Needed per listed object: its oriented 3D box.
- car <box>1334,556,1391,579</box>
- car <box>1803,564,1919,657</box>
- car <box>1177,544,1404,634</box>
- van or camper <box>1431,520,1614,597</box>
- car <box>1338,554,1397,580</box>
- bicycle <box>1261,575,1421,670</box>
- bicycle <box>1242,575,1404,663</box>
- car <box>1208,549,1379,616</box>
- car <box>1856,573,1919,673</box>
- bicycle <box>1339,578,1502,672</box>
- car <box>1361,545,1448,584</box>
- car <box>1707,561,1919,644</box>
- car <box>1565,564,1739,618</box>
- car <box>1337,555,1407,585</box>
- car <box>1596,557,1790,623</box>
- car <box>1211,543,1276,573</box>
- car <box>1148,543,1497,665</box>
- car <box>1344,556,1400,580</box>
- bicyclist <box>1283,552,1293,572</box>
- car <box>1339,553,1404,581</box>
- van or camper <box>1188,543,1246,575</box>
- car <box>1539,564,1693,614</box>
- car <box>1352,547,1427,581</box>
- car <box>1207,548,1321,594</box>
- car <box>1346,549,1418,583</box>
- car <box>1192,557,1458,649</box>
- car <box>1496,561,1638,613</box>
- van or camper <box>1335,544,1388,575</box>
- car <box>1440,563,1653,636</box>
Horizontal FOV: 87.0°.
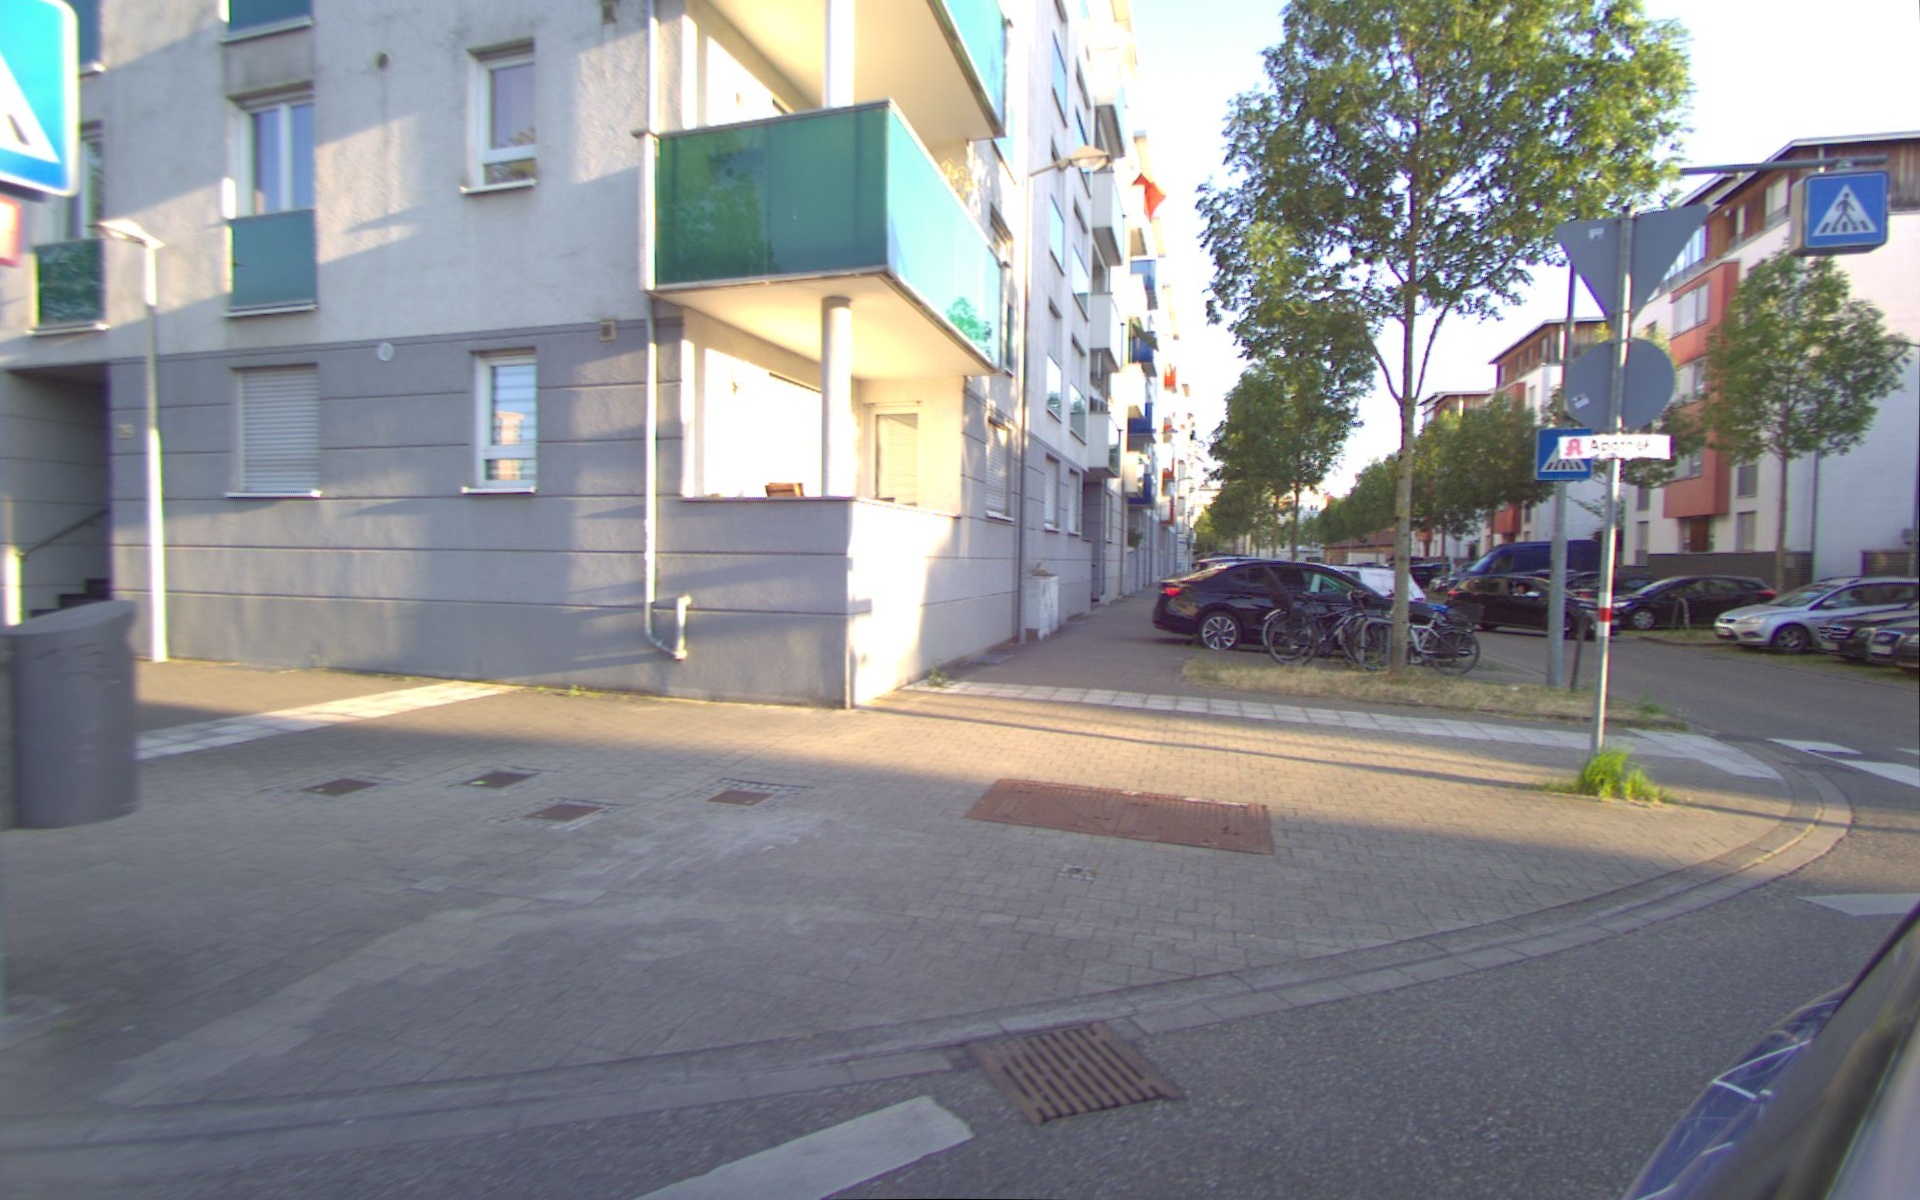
[{"bbox_3d":[34.038,-2.772,85.676,4.196,1.658,1.684,4,3,16],"label":"car"},{"bbox_3d":[18.083,0.153,17.764,4.726,1.574,1.701,0,2,19],"label":"car"},{"bbox_3d":[6.761,-0.279,21.126,4.235,1.512,1.735,4,3,14],"label":"car"},{"bbox_3d":[23.493,-1.739,42.579,6.217,3.125,2.436,0,2,11],"label":"van or camper"},{"bbox_3d":[33.451,-2.714,83.162,4.196,1.808,1.684,4,3,16],"label":"car"},{"bbox_3d":[4.812,0.270,12.891,1.765,1.054,0.565,4,2,11],"label":"bicycle"},{"bbox_3d":[5.001,0.241,14.045,2.003,1.059,0.472,4,2,11],"label":"bicycle"},{"bbox_3d":[9.147,-0.525,28.117,4.231,1.526,1.680,4,3,12],"label":"car"},{"bbox_3d":[17.158,0.321,15.520,4.844,1.496,1.705,-1,2,13],"label":"car"},{"bbox_3d":[6.010,0.311,13.279,1.811,1.085,0.472,4,2,11],"label":"bicycle"},{"bbox_3d":[25.443,-2.029,58.056,4.193,1.954,1.686,4,3,14],"label":"car"},{"bbox_3d":[18.383,0.029,20.687,4.687,1.604,1.753,-1,2,11],"label":"car"},{"bbox_3d":[20.565,-0.314,30.236,3.858,1.534,1.719,0,2,11],"label":"car"},{"bbox_3d":[29.072,-2.118,71.534,4.193,1.808,1.686,4,3,14],"label":"car"},{"bbox_3d":[19.861,-0.304,27.598,3.858,1.731,1.719,0,2,11],"label":"car"},{"bbox_3d":[19.645,-2.904,70.296,4.196,1.800,1.684,4,3,16],"label":"car"},{"bbox_3d":[5.549,-0.011,16.020,4.825,1.475,1.928,4,3,17],"label":"car"},{"bbox_3d":[35.639,-2.763,87.578,4.196,1.808,1.684,4,3,16],"label":"car"},{"bbox_3d":[27.288,-3.130,84.170,0.756,1.647,0.660,1,1,13],"label":"bicyclist"},{"bbox_3d":[30.927,-2.484,76.223,4.193,1.808,1.686,4,3,14],"label":"car"},{"bbox_3d":[20.117,-3.208,79.274,4.193,2.237,1.685,4,3,15],"label":"van or camper"},{"bbox_3d":[22.471,-0.417,34.799,4.039,1.645,1.719,0,2,11],"label":"car"},{"bbox_3d":[28.413,-2.377,67.032,4.193,1.954,1.686,4,3,14],"label":"car"},{"bbox_3d":[11.901,-1.170,39.829,4.040,1.527,1.661,4,3,11],"label":"car"},{"bbox_3d":[28.804,-2.357,69.262,4.193,2.027,1.686,4,3,14],"label":"car"},{"bbox_3d":[6.541,-0.013,18.521,4.357,1.526,1.733,1,2,18],"label":"car"},{"bbox_3d":[22.471,-0.511,37.609,4.040,1.645,1.719,4,3,11],"label":"car"},{"bbox_3d":[36.795,-3.689,92.791,4.195,2.565,1.752,4,3,16],"label":"van or camper"},{"bbox_3d":[14.442,-0.056,25.154,1.744,1.480,4.182,1,3,-35],"label":"car"}]
